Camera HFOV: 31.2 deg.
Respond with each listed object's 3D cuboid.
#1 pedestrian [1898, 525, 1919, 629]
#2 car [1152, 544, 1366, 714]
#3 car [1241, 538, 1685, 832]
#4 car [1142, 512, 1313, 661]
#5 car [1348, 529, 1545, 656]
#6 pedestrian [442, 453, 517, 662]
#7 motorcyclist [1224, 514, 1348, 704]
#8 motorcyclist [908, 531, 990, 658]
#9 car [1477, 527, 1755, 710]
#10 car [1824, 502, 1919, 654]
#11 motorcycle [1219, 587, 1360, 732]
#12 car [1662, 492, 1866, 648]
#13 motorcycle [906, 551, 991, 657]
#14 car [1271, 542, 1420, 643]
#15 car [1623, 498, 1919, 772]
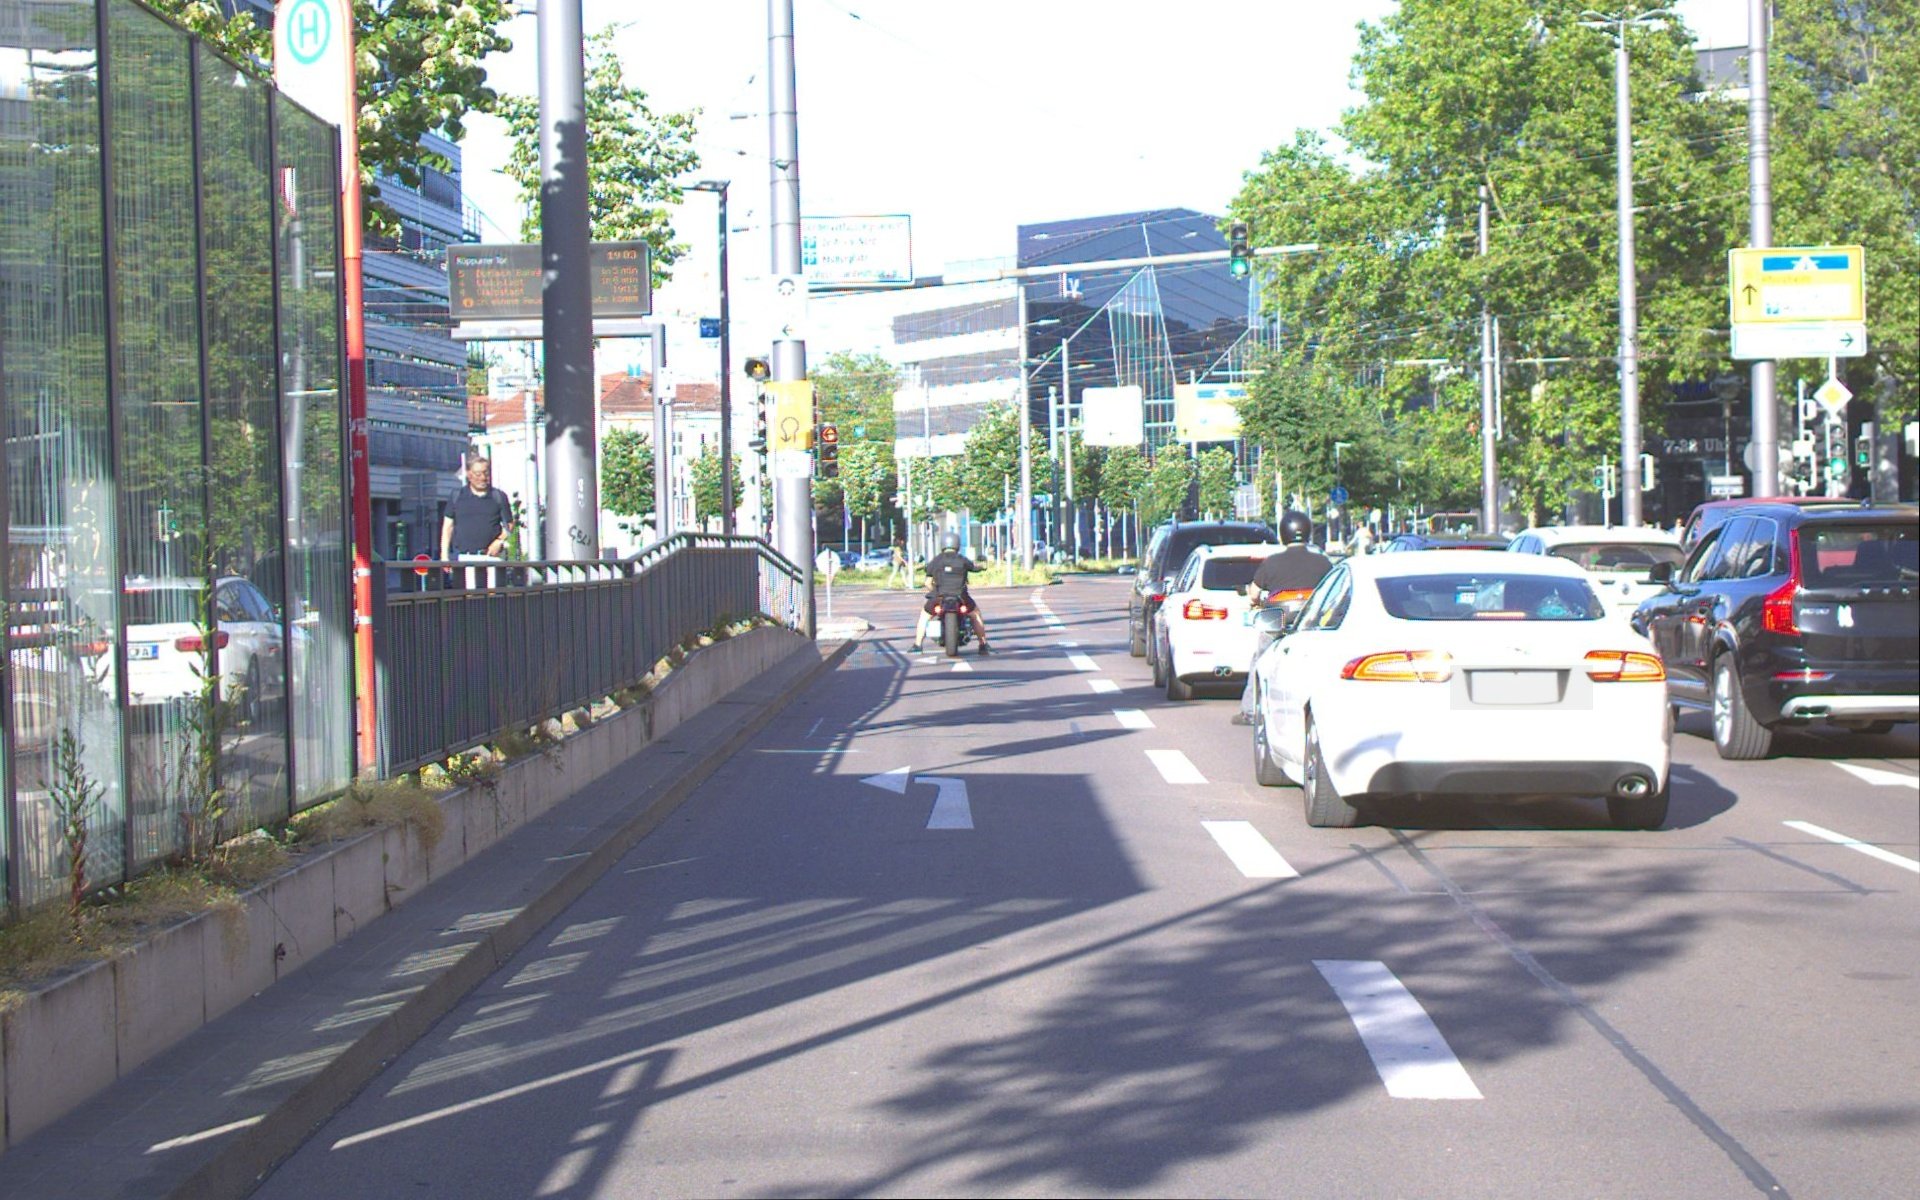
[{"bbox_3d":[16.998,-0.407,60.766,0.606,1.815,0.748,-1,0,0],"label":"pedestrian"},{"bbox_3d":[2.787,0.223,32.847,1.693,1.491,4.409,1,1,1],"label":"car"},{"bbox_3d":[2.653,0.377,19.216,1.780,1.409,4.819,1,1,0],"label":"car"},{"bbox_3d":[3.179,-0.187,41.485,1.798,1.699,4.063,0,1,1],"label":"car"},{"bbox_3d":[6.006,-0.130,42.876,1.851,1.492,4.379,0,1,0],"label":"car"},{"bbox_3d":[-3.863,-0.342,27.644,0.519,1.663,0.550,0,1,1],"label":"pedestrian"},{"bbox_3d":[2.597,0.062,27.482,0.837,1.470,1.236,-1,1,-1],"label":"motorcyclist"},{"bbox_3d":[-0.134,-0.080,44.498,1.019,1.598,1.148,1,1,1],"label":"motorcyclist"},{"bbox_3d":[6.202,0.123,32.953,1.851,1.634,4.379,0,1,0],"label":"car"},{"bbox_3d":[10.790,-0.238,37.018,1.846,1.555,4.632,1,1,1],"label":"car"},{"bbox_3d":[2.614,0.450,27.524,0.837,1.058,2.553,-1,1,-1],"label":"motorcycle"},{"bbox_3d":[10.629,-0.410,45.710,1.860,1.954,4.000,-1,1,2],"label":"car"},{"bbox_3d":[-0.130,0.035,44.454,1.019,1.307,2.914,1,1,1],"label":"motorcycle"},{"bbox_3d":[5.931,-0.144,53.315,1.851,1.492,4.379,0,1,0],"label":"car"},{"bbox_3d":[6.138,0.198,24.460,1.975,1.753,4.632,1,1,1],"label":"car"}]
